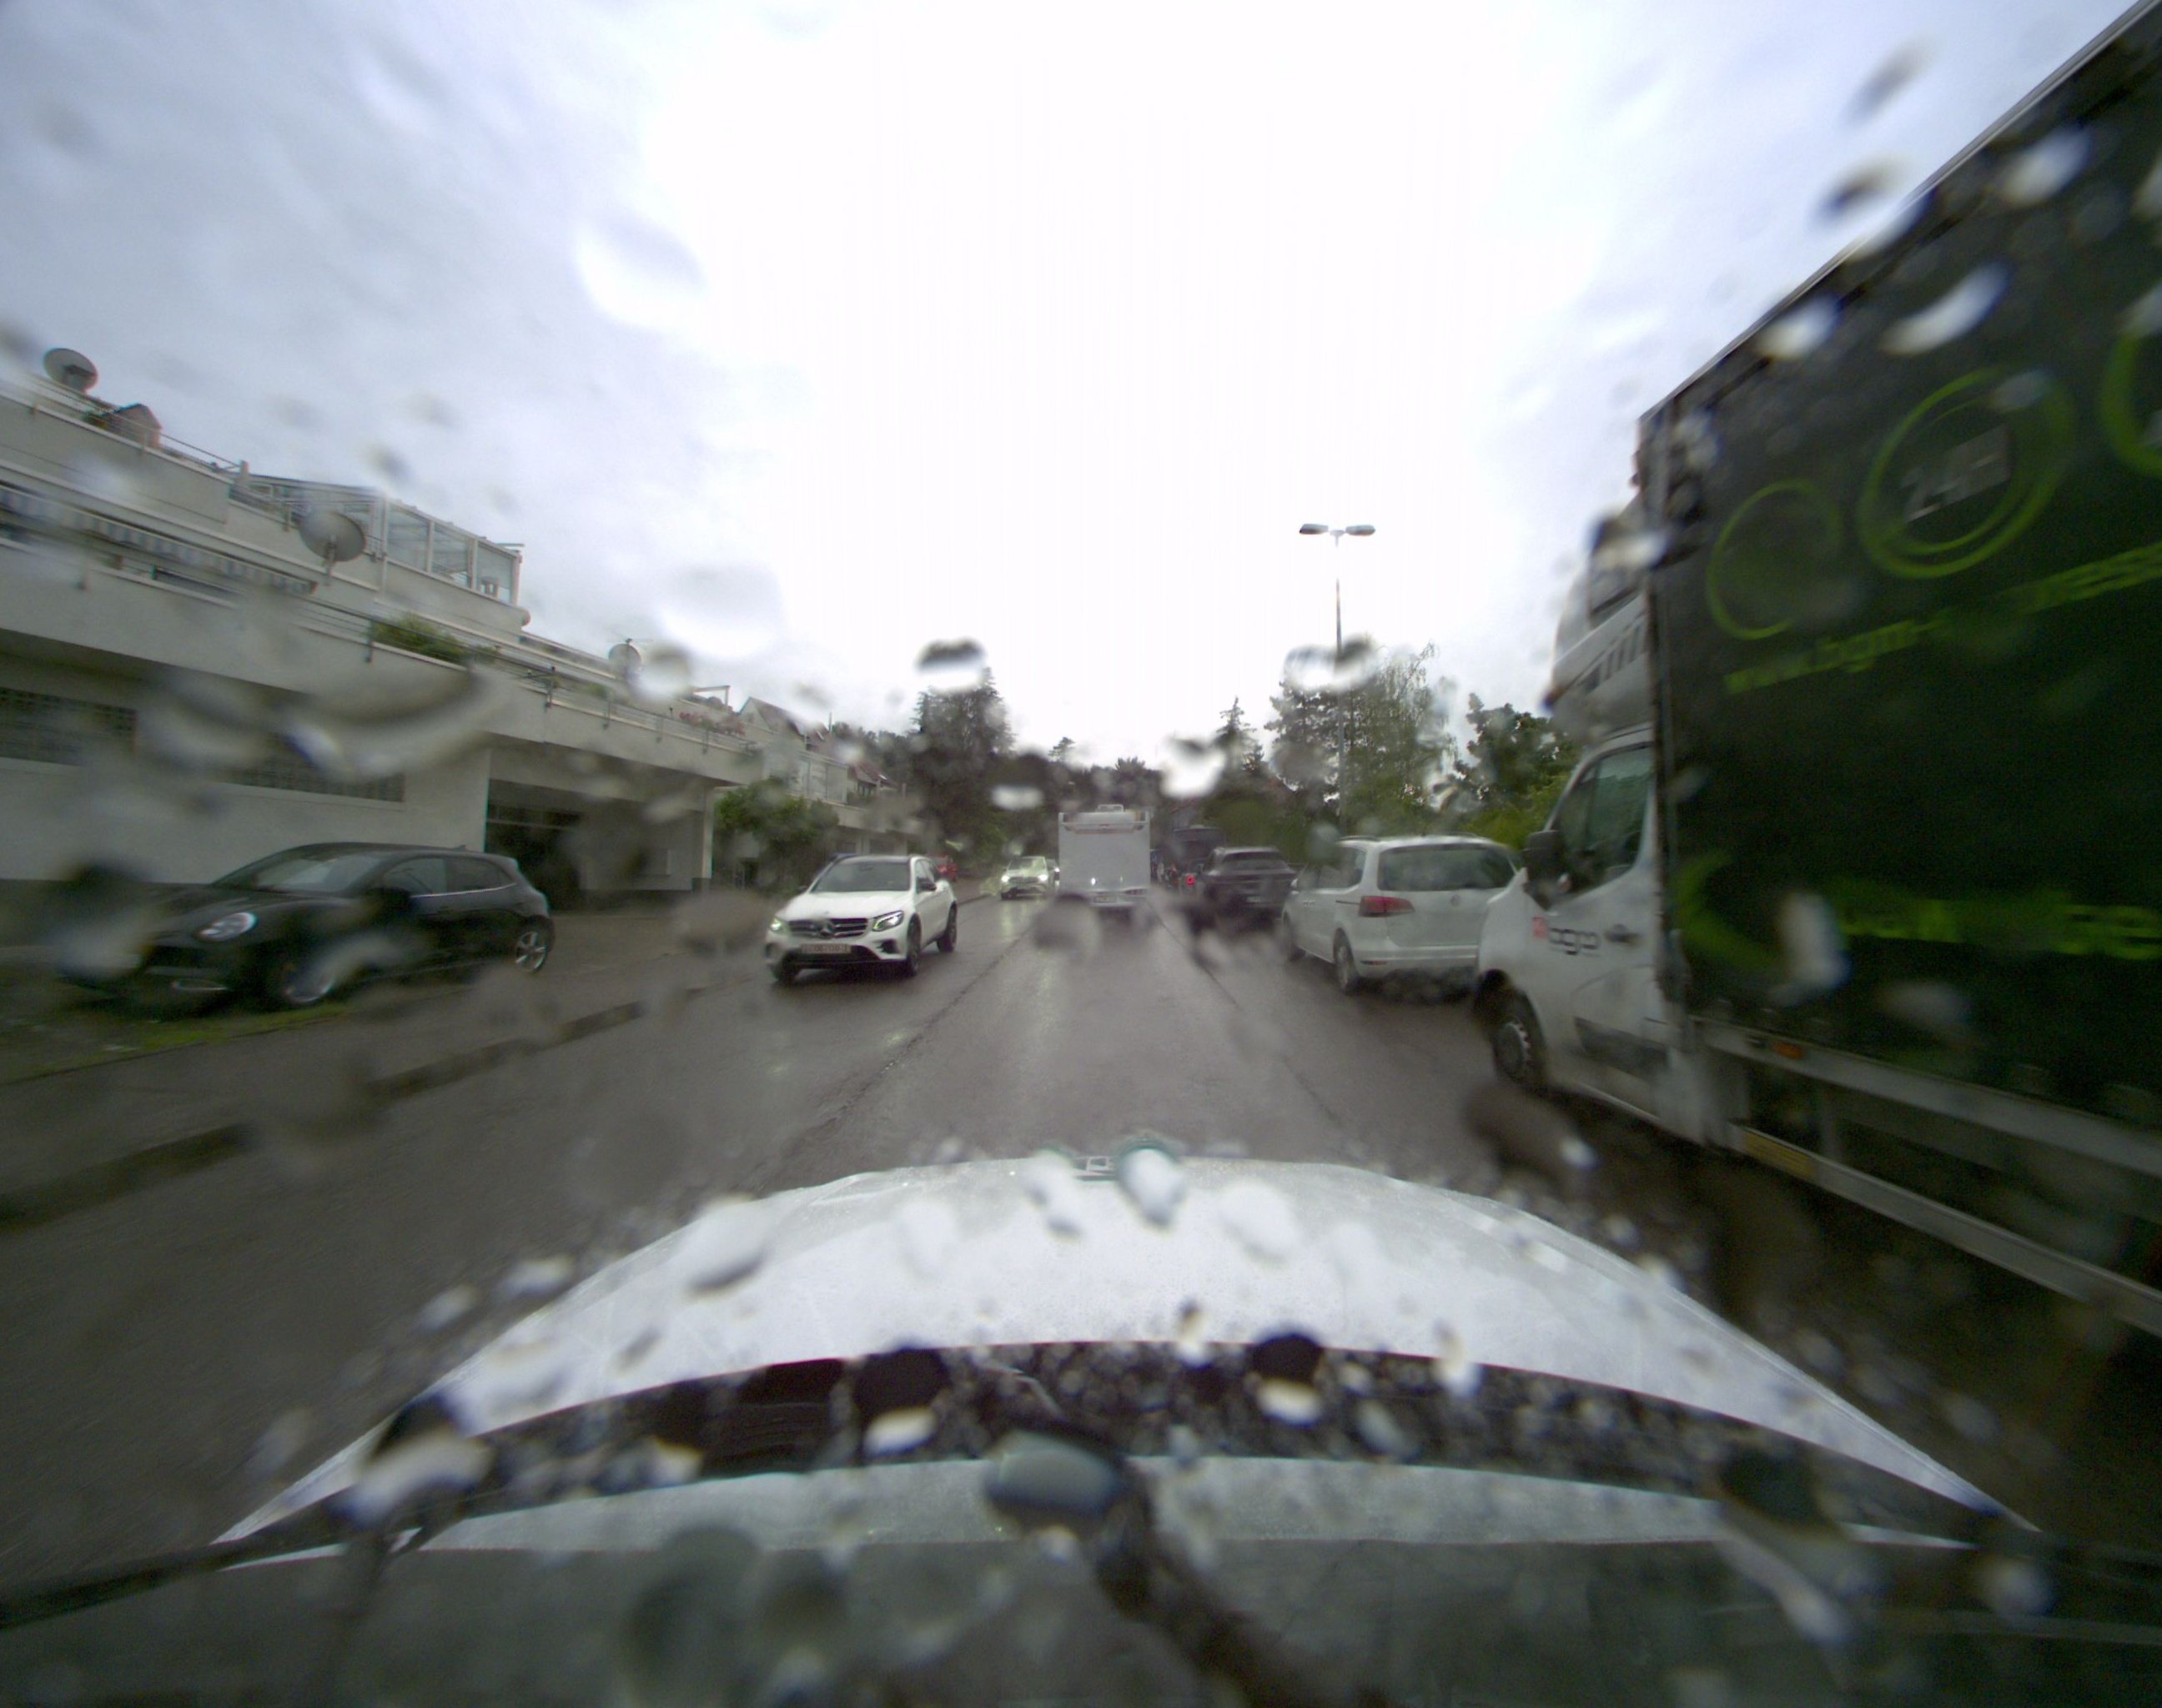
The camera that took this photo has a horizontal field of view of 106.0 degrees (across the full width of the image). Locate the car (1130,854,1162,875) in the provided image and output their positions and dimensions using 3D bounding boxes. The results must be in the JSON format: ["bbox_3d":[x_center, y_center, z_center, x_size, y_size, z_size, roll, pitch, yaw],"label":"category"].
[{"bbox_3d":[4.723,0.735,59.669,1.683,1.457,4.049,0,0,-5],"label":"car"}]

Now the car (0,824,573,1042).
[{"bbox_3d":[-7.771,0.639,8.674,1.681,1.588,4.202,6,0,5],"label":"car"}]

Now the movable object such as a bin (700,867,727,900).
[{"bbox_3d":[-11.898,0.946,26.382,0.542,1.041,0.564,1,-1,15],"label":"movable object such as a bin"}]

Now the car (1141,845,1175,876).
[{"bbox_3d":[5.020,0.419,53.864,1.853,1.921,5.080,0,0,1],"label":"car"}]

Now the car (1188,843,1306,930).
[{"bbox_3d":[3.557,0.649,18.305,1.928,1.672,4.698,-1,0,3],"label":"car"}]

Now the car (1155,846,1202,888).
[{"bbox_3d":[4.561,0.587,38.729,1.820,1.842,5.273,-2,0,2],"label":"car"}]

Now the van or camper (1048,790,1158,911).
[{"bbox_3d":[0.657,0.013,22.427,2.605,2.853,6.033,1,-2,2],"label":"van or camper"}]

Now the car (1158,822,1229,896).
[{"bbox_3d":[4.218,0.193,31.472,2.024,2.505,5.957,-1,0,2],"label":"car"}]

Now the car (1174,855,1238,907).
[{"bbox_3d":[3.772,0.772,25.031,1.582,1.429,3.801,-1,0,3],"label":"car"}]

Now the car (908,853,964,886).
[{"bbox_3d":[-7.330,0.761,41.658,1.767,1.437,4.590,4,0,2],"label":"car"}]

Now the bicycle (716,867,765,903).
[{"bbox_3d":[-10.288,0.921,24.574,1.549,1.007,0.481,1,-1,30],"label":"bicycle"}]

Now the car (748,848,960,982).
[{"bbox_3d":[-3.067,0.745,12.052,1.900,1.607,4.427,0,0,0],"label":"car"}]

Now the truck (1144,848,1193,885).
[{"bbox_3d":[4.729,0.663,45.088,2.106,1.852,6.619,1,0,1],"label":"truck"}]

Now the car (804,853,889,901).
[{"bbox_3d":[-7.887,0.721,27.754,1.601,1.434,3.959,3,0,1],"label":"car"}]

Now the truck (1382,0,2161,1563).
[{"bbox_3d":[3.379,-0.261,2.222,2.426,3.335,7.970,-1,-1,3],"label":"truck"}]

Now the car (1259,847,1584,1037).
[{"bbox_3d":[3.704,0.833,10.223,1.839,1.683,5.640,-1,-1,2],"label":"car"}]

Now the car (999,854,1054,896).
[{"bbox_3d":[-2.108,0.800,32.691,1.792,1.567,4.386,0,0,2],"label":"car"}]
